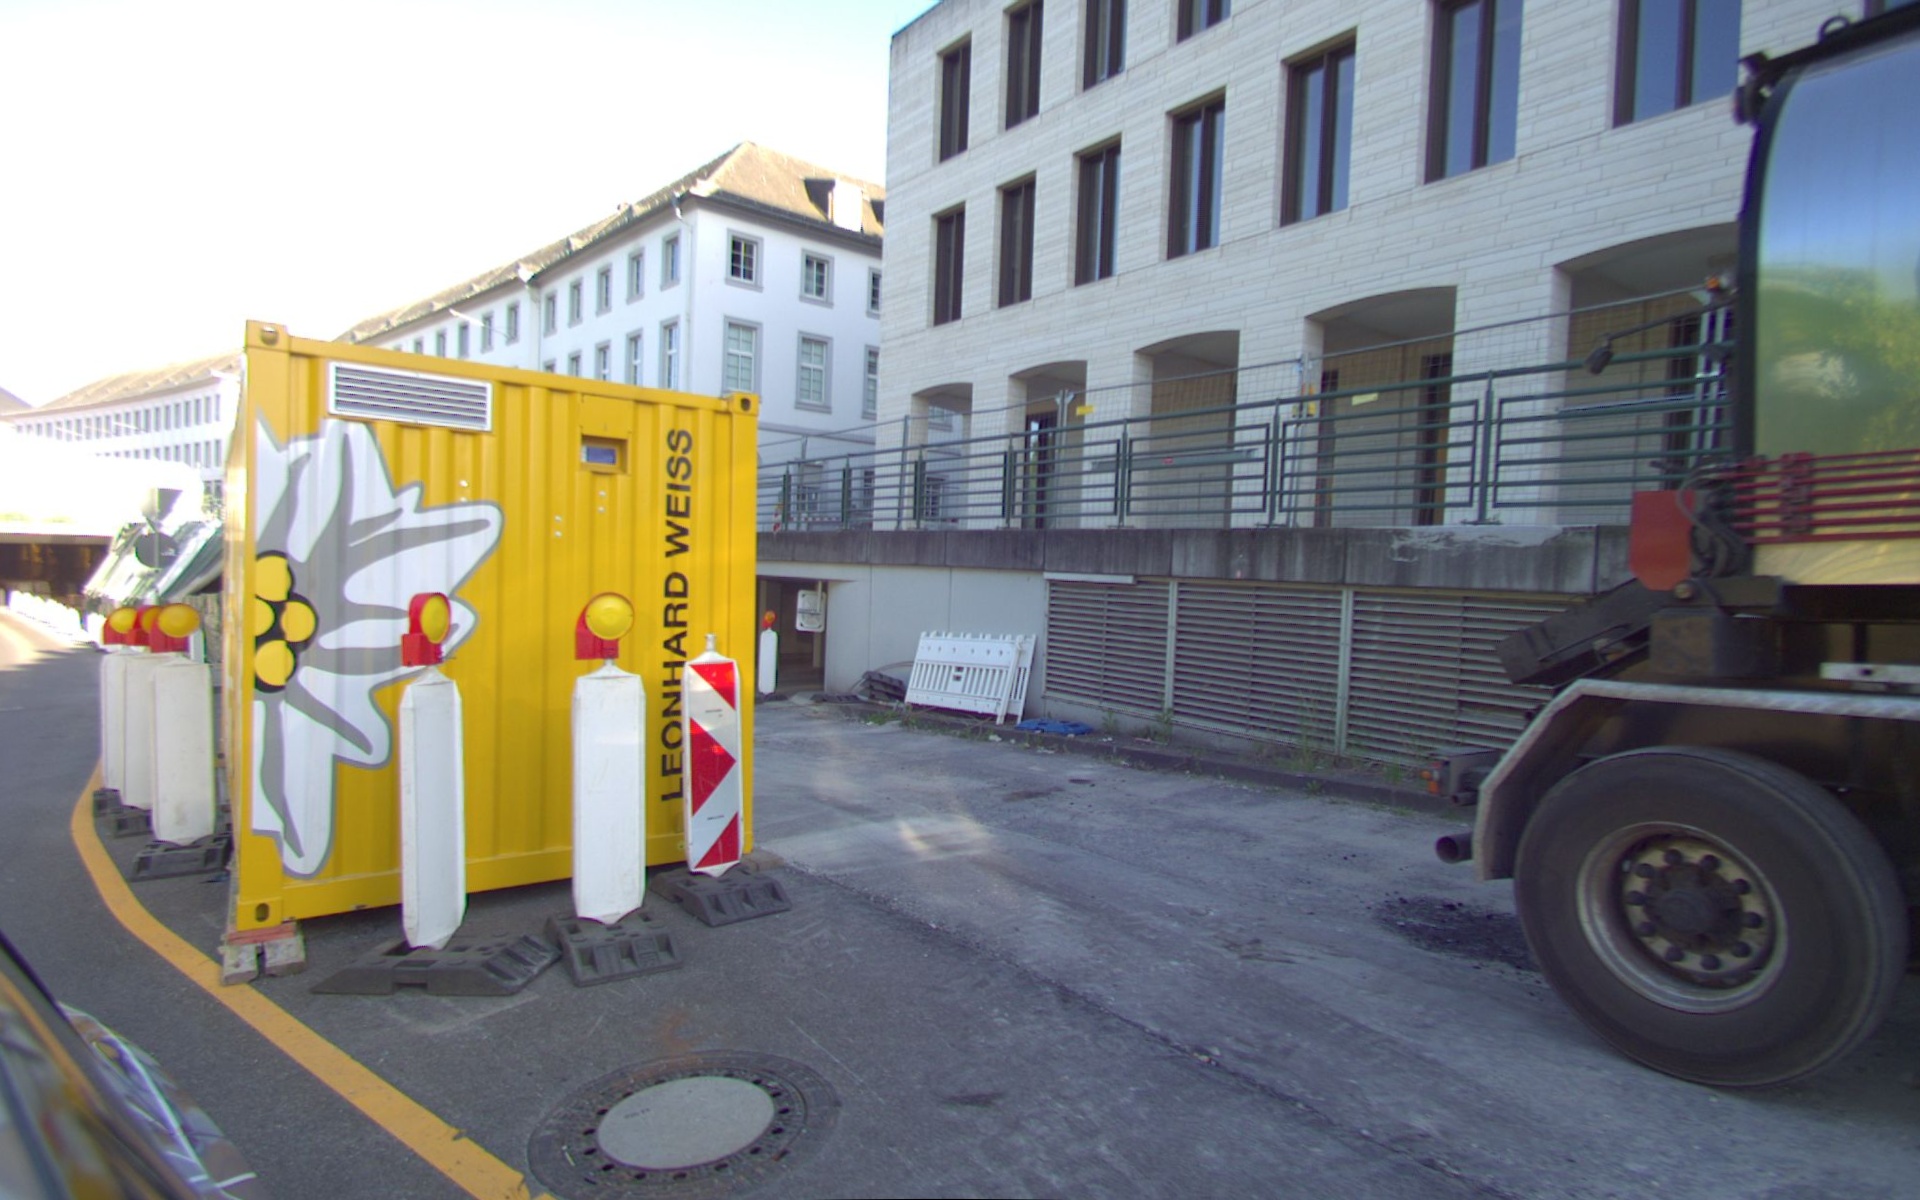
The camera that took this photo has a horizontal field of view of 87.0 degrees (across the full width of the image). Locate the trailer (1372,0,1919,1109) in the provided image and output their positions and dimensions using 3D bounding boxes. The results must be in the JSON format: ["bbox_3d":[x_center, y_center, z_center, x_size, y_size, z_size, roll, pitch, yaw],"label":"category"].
[{"bbox_3d":[5.252,-0.434,1.147,2.606,3.697,8.771,5,-3,-34],"label":"trailer"}]
